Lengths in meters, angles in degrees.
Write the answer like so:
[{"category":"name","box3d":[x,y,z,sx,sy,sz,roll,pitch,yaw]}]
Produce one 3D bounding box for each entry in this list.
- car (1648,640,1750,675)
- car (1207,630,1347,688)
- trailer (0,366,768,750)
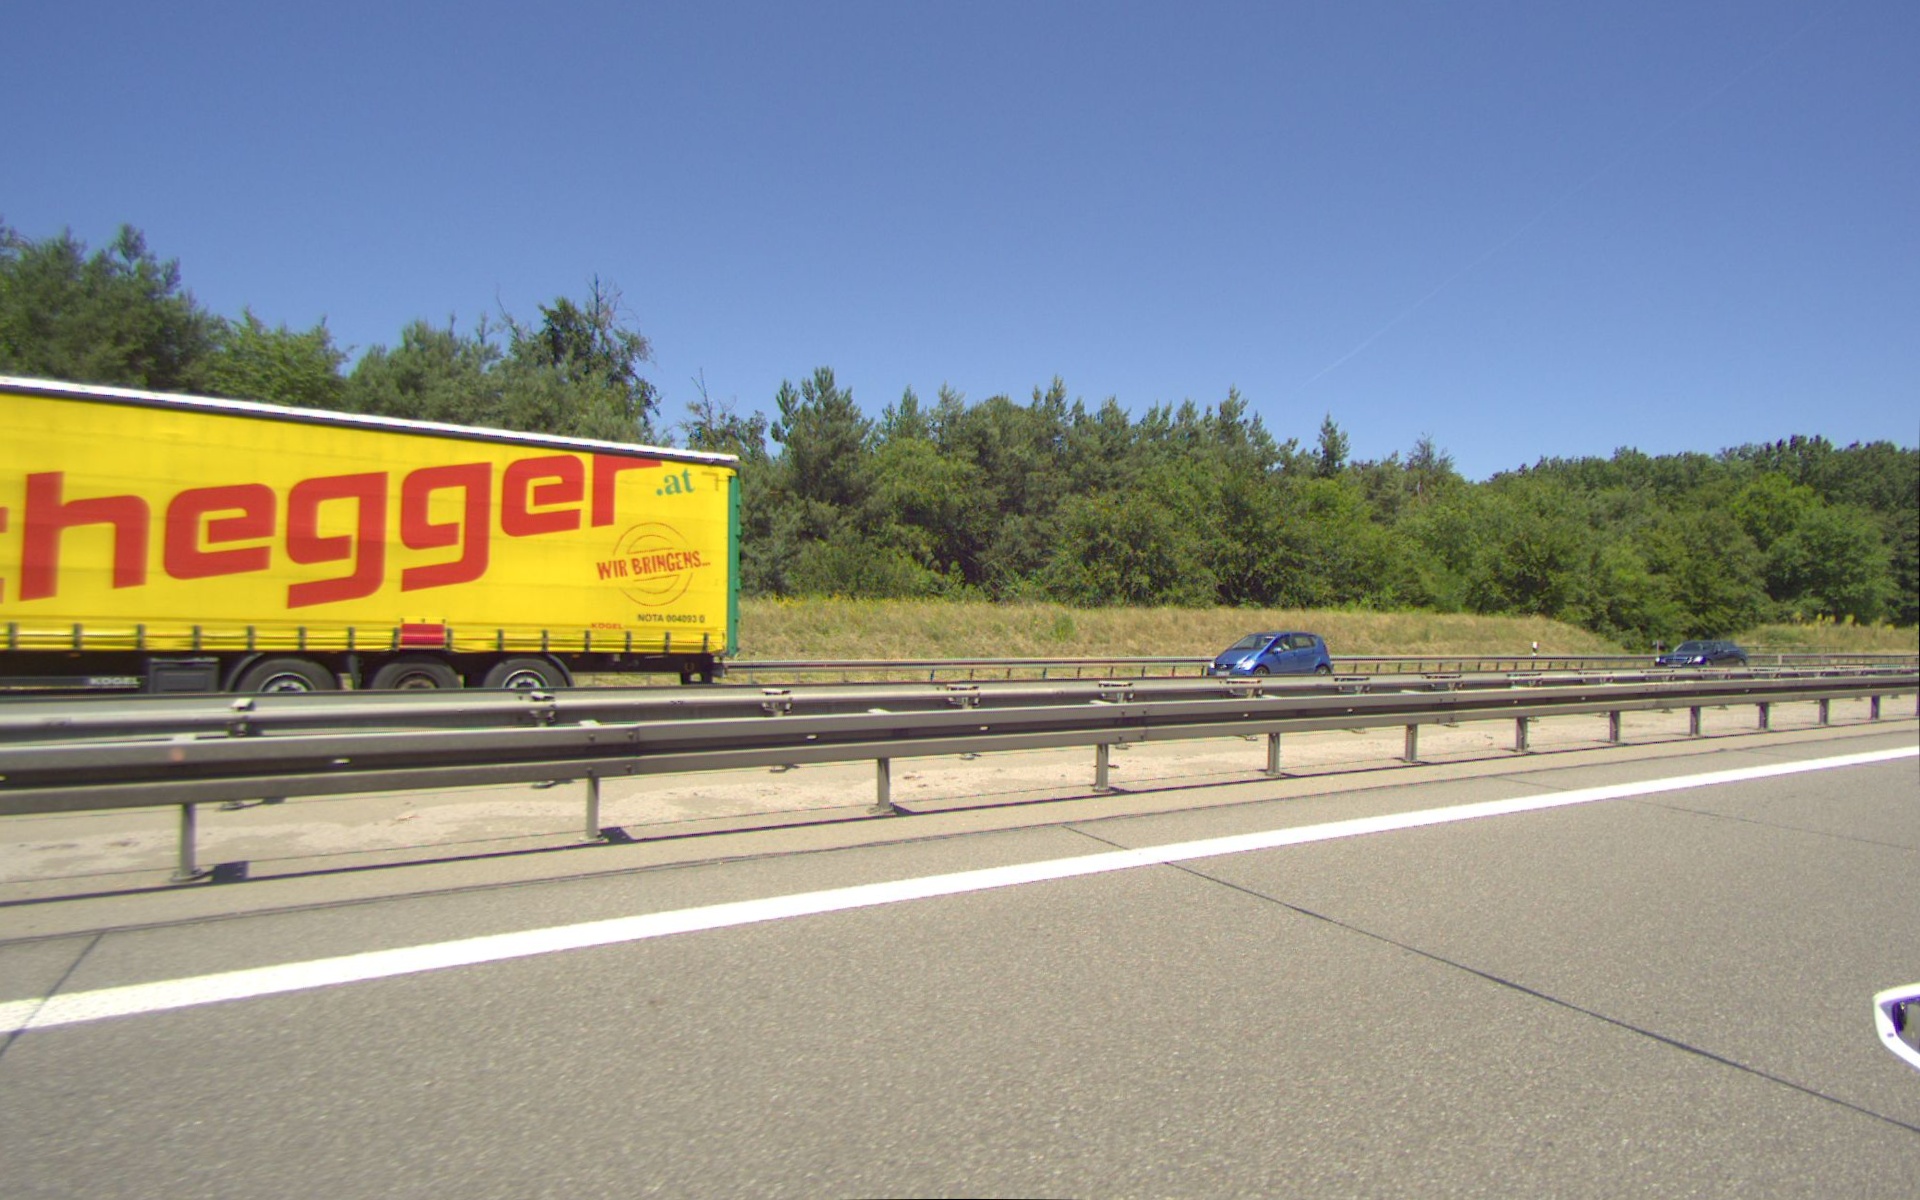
[{"category":"car","box3d":[30.926,2.386,41.998,4.833,1.383,1.668,1,-4,-31]},{"category":"car","box3d":[9.189,1.687,29.050,4.063,1.560,1.517,1,-4,-31]},{"category":"trailer","box3d":[-9.571,-0.364,12.644,14.113,4.125,2.452,1,-3,-31]}]
